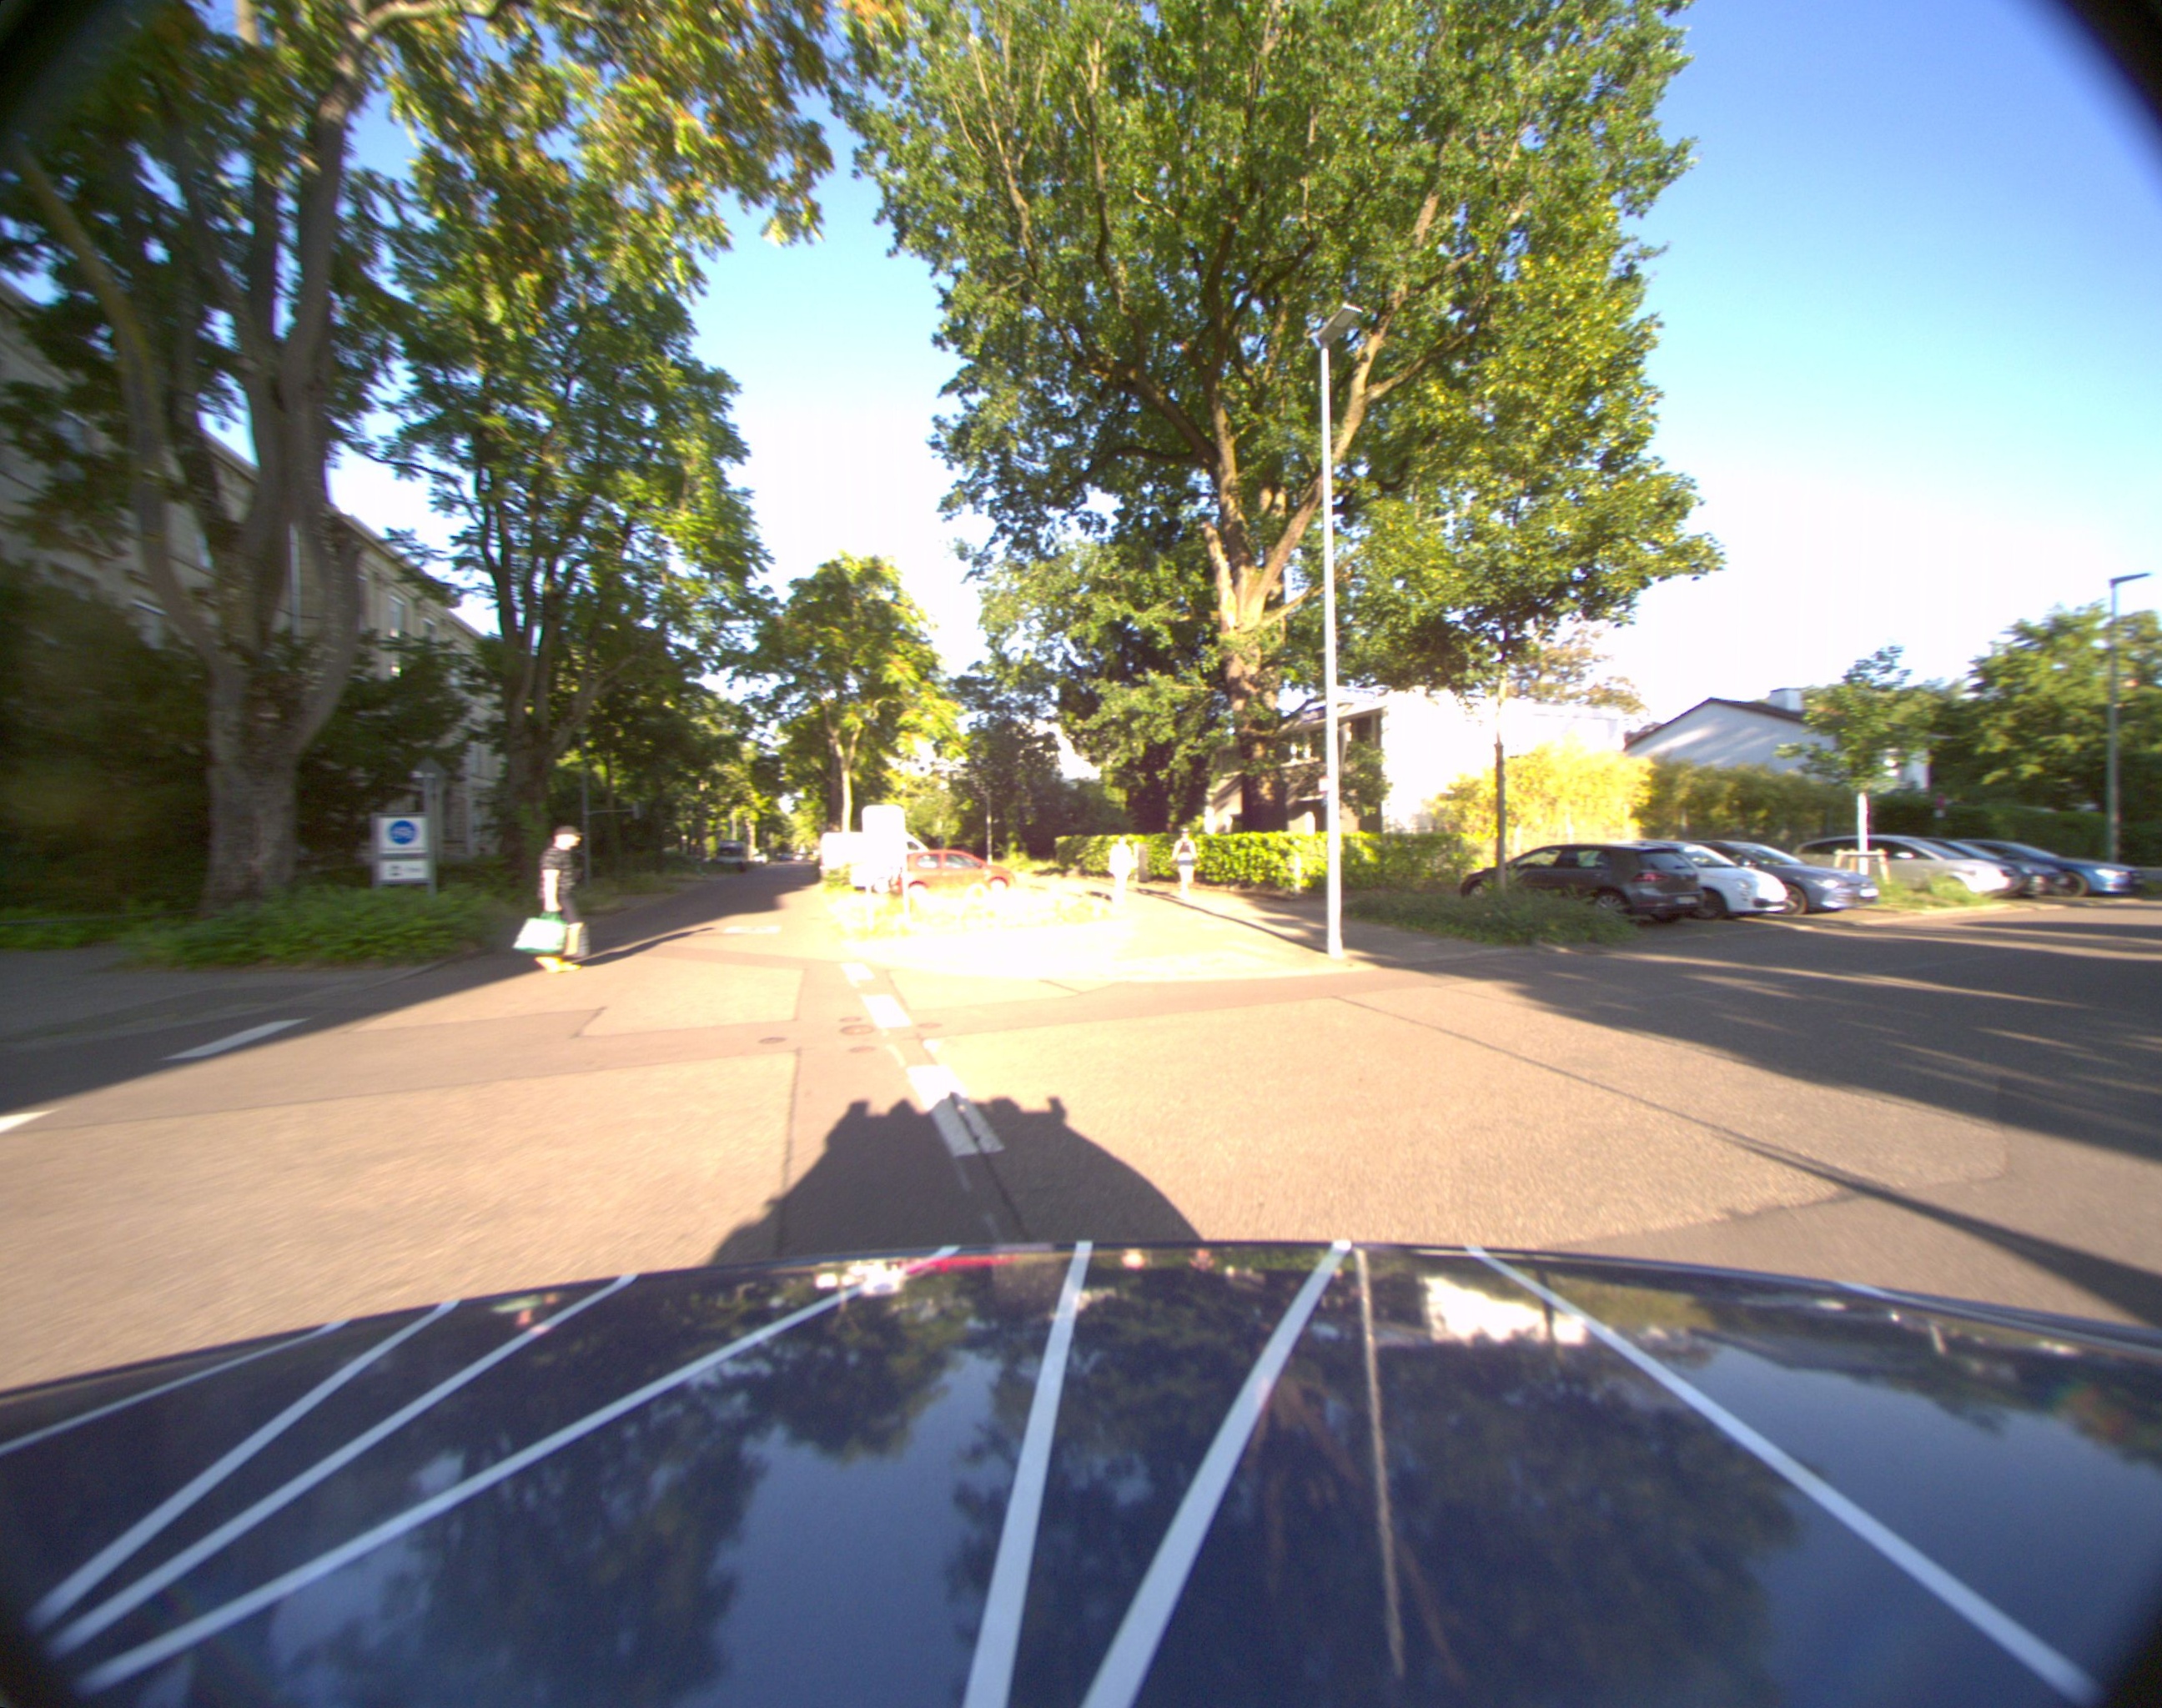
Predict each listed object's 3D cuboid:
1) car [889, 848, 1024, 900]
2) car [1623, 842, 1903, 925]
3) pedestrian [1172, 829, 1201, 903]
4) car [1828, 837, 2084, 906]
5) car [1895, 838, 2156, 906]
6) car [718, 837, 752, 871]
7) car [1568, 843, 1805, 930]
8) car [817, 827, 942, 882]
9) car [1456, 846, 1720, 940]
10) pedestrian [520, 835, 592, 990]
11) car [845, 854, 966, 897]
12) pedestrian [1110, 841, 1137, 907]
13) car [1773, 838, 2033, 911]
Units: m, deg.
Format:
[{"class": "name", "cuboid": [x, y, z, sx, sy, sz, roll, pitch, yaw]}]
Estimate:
[{"class": "car", "cuboid": [-3.748, 0.557, 22.806, 3.684, 1.412, 1.715, -1, 1, -23]}, {"class": "car", "cuboid": [14.363, 0.511, 16.345, 1.813, 1.449, 4.091, -1, 2, -19]}, {"class": "pedestrian", "cuboid": [2.564, 0.288, 18.425, 0.436, 1.765, 0.665, -1, 1, -16]}, {"class": "car", "cuboid": [22.226, 0.347, 19.517, 1.747, 1.529, 3.915, -1, 2, -23]}, {"class": "car", "cuboid": [24.524, 0.369, 19.930, 1.747, 1.529, 3.915, -1, 2, -23]}, {"class": "car", "cuboid": [-27.660, -0.037, 60.820, 1.954, 2.584, 4.159, -1, 1, -18]}, {"class": "car", "cuboid": [12.054, 0.548, 15.368, 1.639, 1.483, 3.348, -1, 2, -23]}, {"class": "car", "cuboid": [-10.370, -0.020, 39.152, 5.917, 2.685, 2.216, -1, 1, -23]}, {"class": "car", "cuboid": [9.508, 0.628, 14.647, 1.647, 1.507, 3.992, -1, 1, -22]}, {"class": "pedestrian", "cuboid": [-6.755, 0.708, 9.774, 0.615, 1.908, 0.720, -2, 3, -44]}, {"class": "car", "cuboid": [-6.415, 0.730, 27.771, 4.064, 1.412, 1.715, -1, 1, -23]}, {"class": "pedestrian", "cuboid": [1.038, 0.473, 18.649, 0.436, 1.572, 0.665, -1, 1, -16]}, {"class": "car", "cuboid": [19.879, 0.403, 18.610, 1.747, 1.529, 3.915, -1, 2, -23]}]
